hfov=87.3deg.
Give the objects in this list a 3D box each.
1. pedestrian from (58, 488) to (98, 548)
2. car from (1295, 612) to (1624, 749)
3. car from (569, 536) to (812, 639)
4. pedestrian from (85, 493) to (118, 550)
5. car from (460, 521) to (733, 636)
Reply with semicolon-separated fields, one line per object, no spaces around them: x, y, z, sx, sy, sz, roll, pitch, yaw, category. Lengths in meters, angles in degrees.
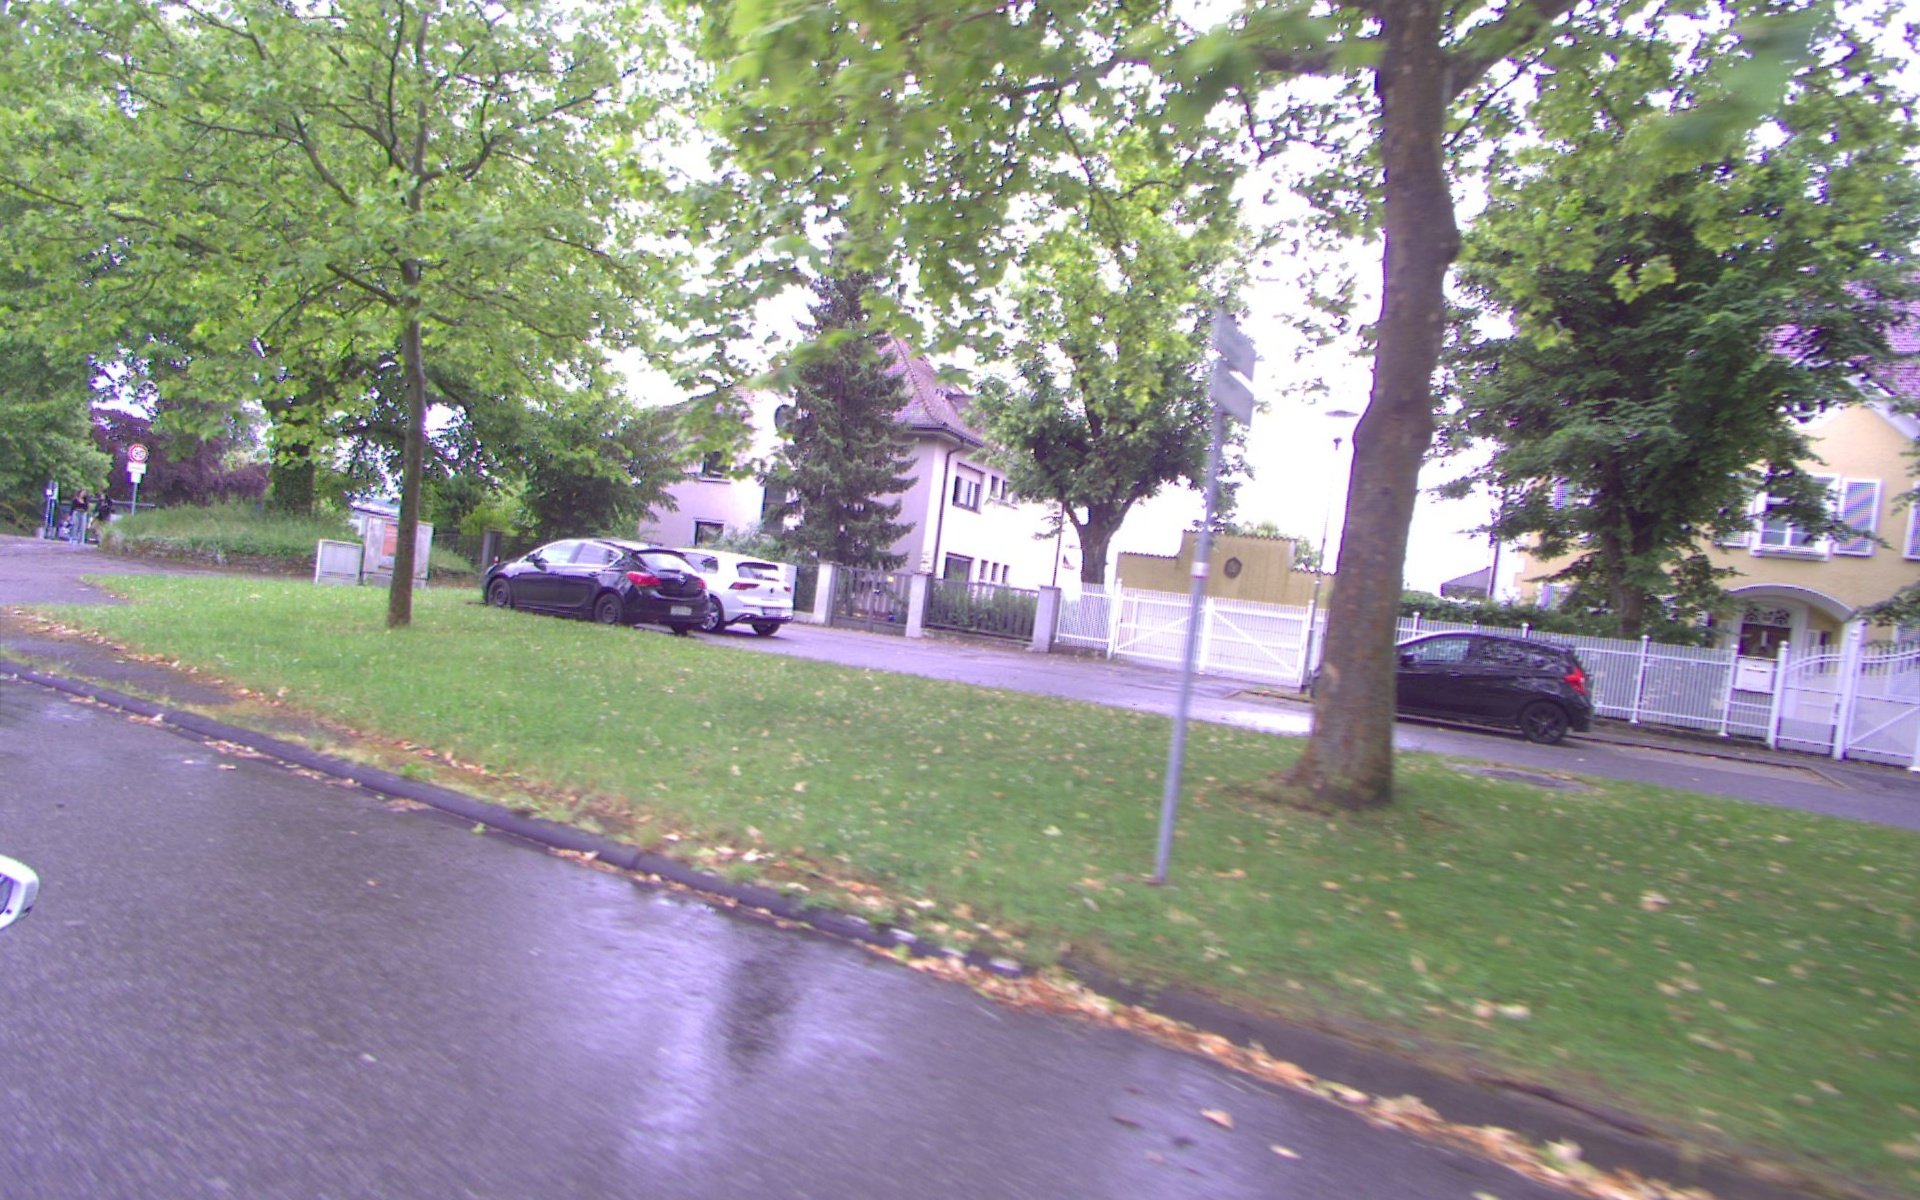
-27.327;-2.526;31.162;0.624;1.733;0.530;7;-1;17;pedestrian
7.694;1.228;15.841;4.280;1.488;1.766;6;-2;27;car
-5.187;-0.251;19.253;4.350;1.490;1.847;6;1;29;car
-27.511;-2.516;32.242;0.632;1.733;0.523;7;-1;-43;pedestrian
-6.197;-0.377;16.995;4.520;1.490;1.765;6;2;30;car
